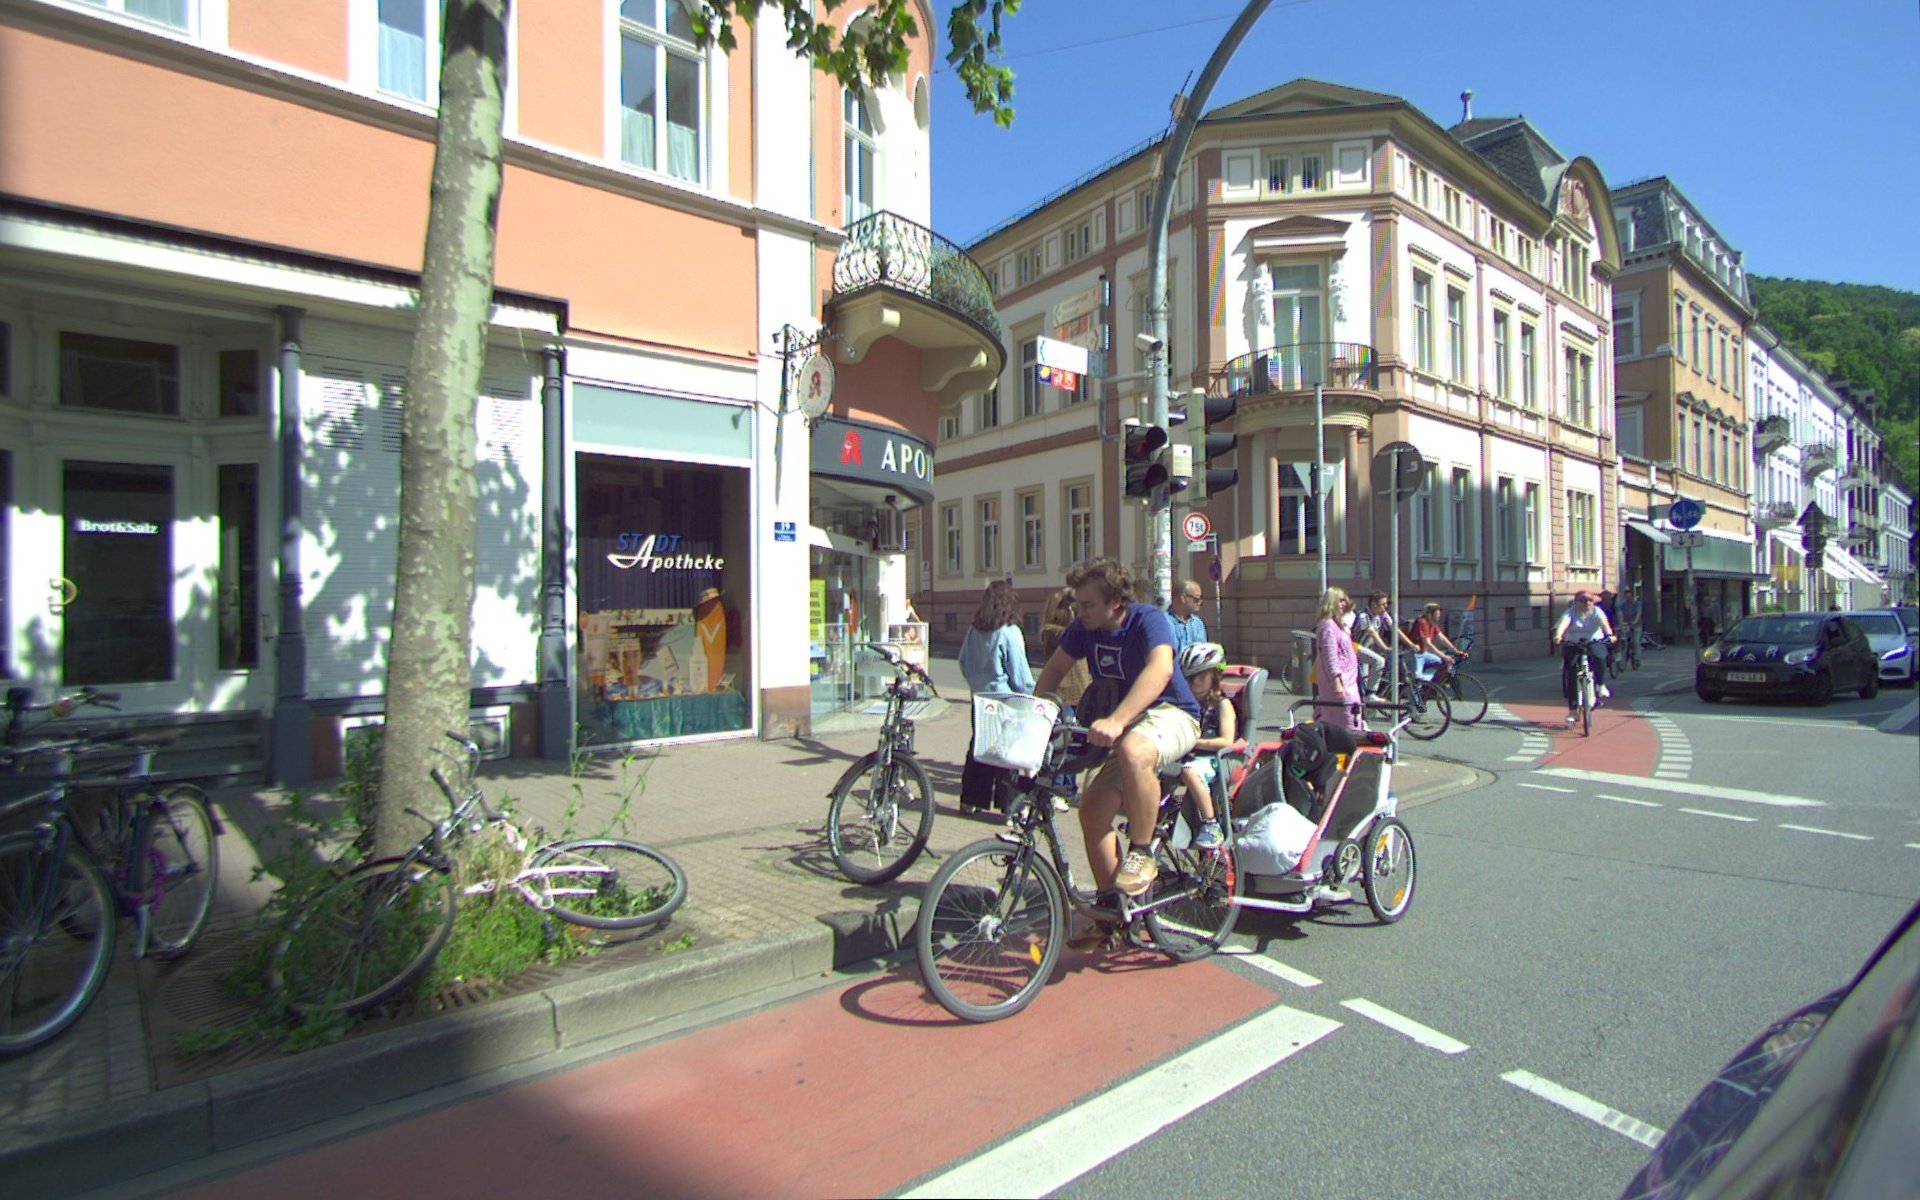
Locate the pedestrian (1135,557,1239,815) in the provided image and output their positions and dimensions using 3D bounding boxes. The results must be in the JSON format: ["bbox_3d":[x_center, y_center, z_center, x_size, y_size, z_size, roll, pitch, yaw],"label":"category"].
[{"bbox_3d":[1.684,0.610,7.515,0.598,1.818,0.452,1,-3,-44],"label":"pedestrian"}]

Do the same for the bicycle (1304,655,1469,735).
[{"bbox_3d":[5.160,1.128,12.351,0.492,0.855,1.824,0,-2,-40],"label":"bicycle"}]

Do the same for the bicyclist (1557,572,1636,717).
[{"bbox_3d":[7.966,0.531,12.661,0.682,1.739,0.832,-1,-1,42],"label":"bicyclist"}]

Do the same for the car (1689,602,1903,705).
[{"bbox_3d":[13.655,0.798,16.491,3.658,1.497,1.634,0,-1,-33],"label":"car"}]

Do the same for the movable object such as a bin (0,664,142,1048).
[{"bbox_3d":[-3.621,0.858,3.641,0.639,1.204,1.859,0,-2,-26],"label":"movable object such as a bin"}]

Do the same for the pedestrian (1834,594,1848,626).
[{"bbox_3d":[47.914,0.545,55.051,0.853,1.690,0.482,0,-1,-42],"label":"pedestrian"}]

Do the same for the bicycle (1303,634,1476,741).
[{"bbox_3d":[5.180,1.011,12.303,0.654,1.141,1.845,-1,0,-37],"label":"bicycle"}]

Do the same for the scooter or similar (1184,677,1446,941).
[{"bbox_3d":[1.799,0.963,5.101,1.106,1.074,0.784,0,-2,-42],"label":"scooter or similar"}]

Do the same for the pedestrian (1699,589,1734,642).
[{"bbox_3d":[26.340,0.514,35.245,0.754,1.814,0.840,0,0,-41],"label":"pedestrian"}]

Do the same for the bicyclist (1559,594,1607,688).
[{"bbox_3d":[11.273,0.719,18.307,0.830,1.657,0.515,0,0,-41],"label":"bicyclist"}]

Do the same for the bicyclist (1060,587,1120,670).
[{"bbox_3d":[2.713,0.577,21.148,0.562,1.683,1.158,1,0,-36],"label":"bicyclist"}]

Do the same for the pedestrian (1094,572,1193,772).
[{"bbox_3d":[1.792,0.683,9.929,0.602,1.867,0.641,-1,-2,-30],"label":"pedestrian"}]

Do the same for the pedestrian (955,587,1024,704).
[{"bbox_3d":[0.440,0.678,15.064,0.774,1.680,0.641,3,-3,-30],"label":"pedestrian"}]

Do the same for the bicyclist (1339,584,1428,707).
[{"bbox_3d":[5.122,0.525,12.248,0.492,1.429,0.860,0,-1,-40],"label":"bicyclist"}]

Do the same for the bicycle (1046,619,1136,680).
[{"bbox_3d":[2.703,1.000,21.146,0.562,1.141,2.077,1,0,-36],"label":"bicycle"}]

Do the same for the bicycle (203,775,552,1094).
[{"bbox_3d":[-2.466,1.235,4.167,1.854,0.395,1.018,-14,25,52],"label":"bicycle"}]

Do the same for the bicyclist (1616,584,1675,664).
[{"bbox_3d":[15.375,0.524,22.692,0.830,1.739,0.909,-1,0,-41],"label":"bicyclist"}]

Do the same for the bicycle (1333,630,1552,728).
[{"bbox_3d":[6.340,0.993,13.469,0.618,1.141,2.566,-1,0,-45],"label":"bicycle"}]

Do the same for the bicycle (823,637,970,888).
[{"bbox_3d":[-0.362,0.842,5.838,0.702,1.205,1.856,0,-4,-3],"label":"bicycle"}]

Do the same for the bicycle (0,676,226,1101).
[{"bbox_3d":[-3.100,0.875,3.700,0.338,1.142,1.848,1,-3,-26],"label":"bicycle"}]

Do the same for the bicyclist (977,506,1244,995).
[{"bbox_3d":[0.591,0.515,4.036,0.760,1.694,0.733,0,0,-37],"label":"bicyclist"}]

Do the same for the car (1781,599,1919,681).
[{"bbox_3d":[18.123,0.745,20.236,4.804,1.443,1.954,0,-2,-43],"label":"car"}]

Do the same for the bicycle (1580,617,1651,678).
[{"bbox_3d":[13.162,0.924,20.303,1.956,1.132,0.663,0,0,-40],"label":"bicycle"}]

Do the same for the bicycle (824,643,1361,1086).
[{"bbox_3d":[0.626,0.845,4.060,2.239,1.285,0.734,0,-2,-37],"label":"bicycle"}]

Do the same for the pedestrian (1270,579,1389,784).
[{"bbox_3d":[3.345,0.706,9.148,0.777,1.731,0.639,-2,-1,-44],"label":"pedestrian"}]

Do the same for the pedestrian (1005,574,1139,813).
[{"bbox_3d":[0.852,0.676,7.771,0.630,1.712,0.788,1,-2,-44],"label":"pedestrian"}]

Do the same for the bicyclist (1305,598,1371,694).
[{"bbox_3d":[6.482,0.765,17.359,0.830,1.593,0.747,0,0,-41],"label":"bicyclist"}]

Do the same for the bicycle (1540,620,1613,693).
[{"bbox_3d":[11.252,0.996,18.449,1.827,1.140,0.607,-3,3,-40],"label":"bicycle"}]

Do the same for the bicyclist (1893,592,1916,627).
[{"bbox_3d":[47.360,0.479,50.753,1.018,1.724,0.747,0,0,-41],"label":"bicyclist"}]

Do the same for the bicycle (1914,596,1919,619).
[{"bbox_3d":[52.122,0.420,54.675,2.057,1.140,0.595,-3,2,-40],"label":"bicycle"}]

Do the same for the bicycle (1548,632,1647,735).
[{"bbox_3d":[7.982,0.991,12.630,0.734,1.141,2.003,-1,-2,41],"label":"bicycle"}]

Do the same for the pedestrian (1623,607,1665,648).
[{"bbox_3d":[22.627,0.909,33.499,0.614,1.333,1.030,0,-1,-42],"label":"pedestrian"}]

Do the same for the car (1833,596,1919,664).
[{"bbox_3d":[23.309,0.707,25.164,4.218,1.511,1.888,-1,-2,-43],"label":"car"}]

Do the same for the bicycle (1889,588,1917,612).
[{"bbox_3d":[47.067,-0.005,50.490,2.528,1.141,0.743,-1,1,-40],"label":"bicycle"}]

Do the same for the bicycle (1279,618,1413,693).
[{"bbox_3d":[6.778,0.916,17.635,3.183,1.141,0.749,0,1,-40],"label":"bicycle"}]

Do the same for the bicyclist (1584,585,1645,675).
[{"bbox_3d":[13.108,0.574,20.266,0.830,1.739,0.840,0,0,-41],"label":"bicyclist"}]

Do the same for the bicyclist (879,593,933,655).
[{"bbox_3d":[-1.290,0.563,24.165,0.757,1.449,1.261,1,-1,-33],"label":"bicyclist"}]

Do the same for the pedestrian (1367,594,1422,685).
[{"bbox_3d":[8.216,0.730,19.189,0.891,1.631,0.971,0,3,20],"label":"pedestrian"}]

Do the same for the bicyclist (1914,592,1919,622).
[{"bbox_3d":[51.904,0.388,54.446,0.830,1.593,0.747,0,0,-41],"label":"bicyclist"}]

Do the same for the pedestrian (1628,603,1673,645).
[{"bbox_3d":[23.178,0.804,33.978,0.614,1.332,1.087,0,2,-42],"label":"pedestrian"}]

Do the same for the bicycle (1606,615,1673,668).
[{"bbox_3d":[15.319,0.912,22.791,1.884,1.132,0.748,0,-2,-40],"label":"bicycle"}]

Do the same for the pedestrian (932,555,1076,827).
[{"bbox_3d":[0.310,0.621,7.286,0.630,1.818,0.788,1,-3,-44],"label":"pedestrian"}]

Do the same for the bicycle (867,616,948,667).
[{"bbox_3d":[-1.291,0.949,24.156,0.757,1.141,2.574,1,-1,-33],"label":"bicycle"}]

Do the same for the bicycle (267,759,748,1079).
[{"bbox_3d":[-2.030,1.373,4.868,1.128,0.438,1.846,10,13,22],"label":"bicycle"}]
